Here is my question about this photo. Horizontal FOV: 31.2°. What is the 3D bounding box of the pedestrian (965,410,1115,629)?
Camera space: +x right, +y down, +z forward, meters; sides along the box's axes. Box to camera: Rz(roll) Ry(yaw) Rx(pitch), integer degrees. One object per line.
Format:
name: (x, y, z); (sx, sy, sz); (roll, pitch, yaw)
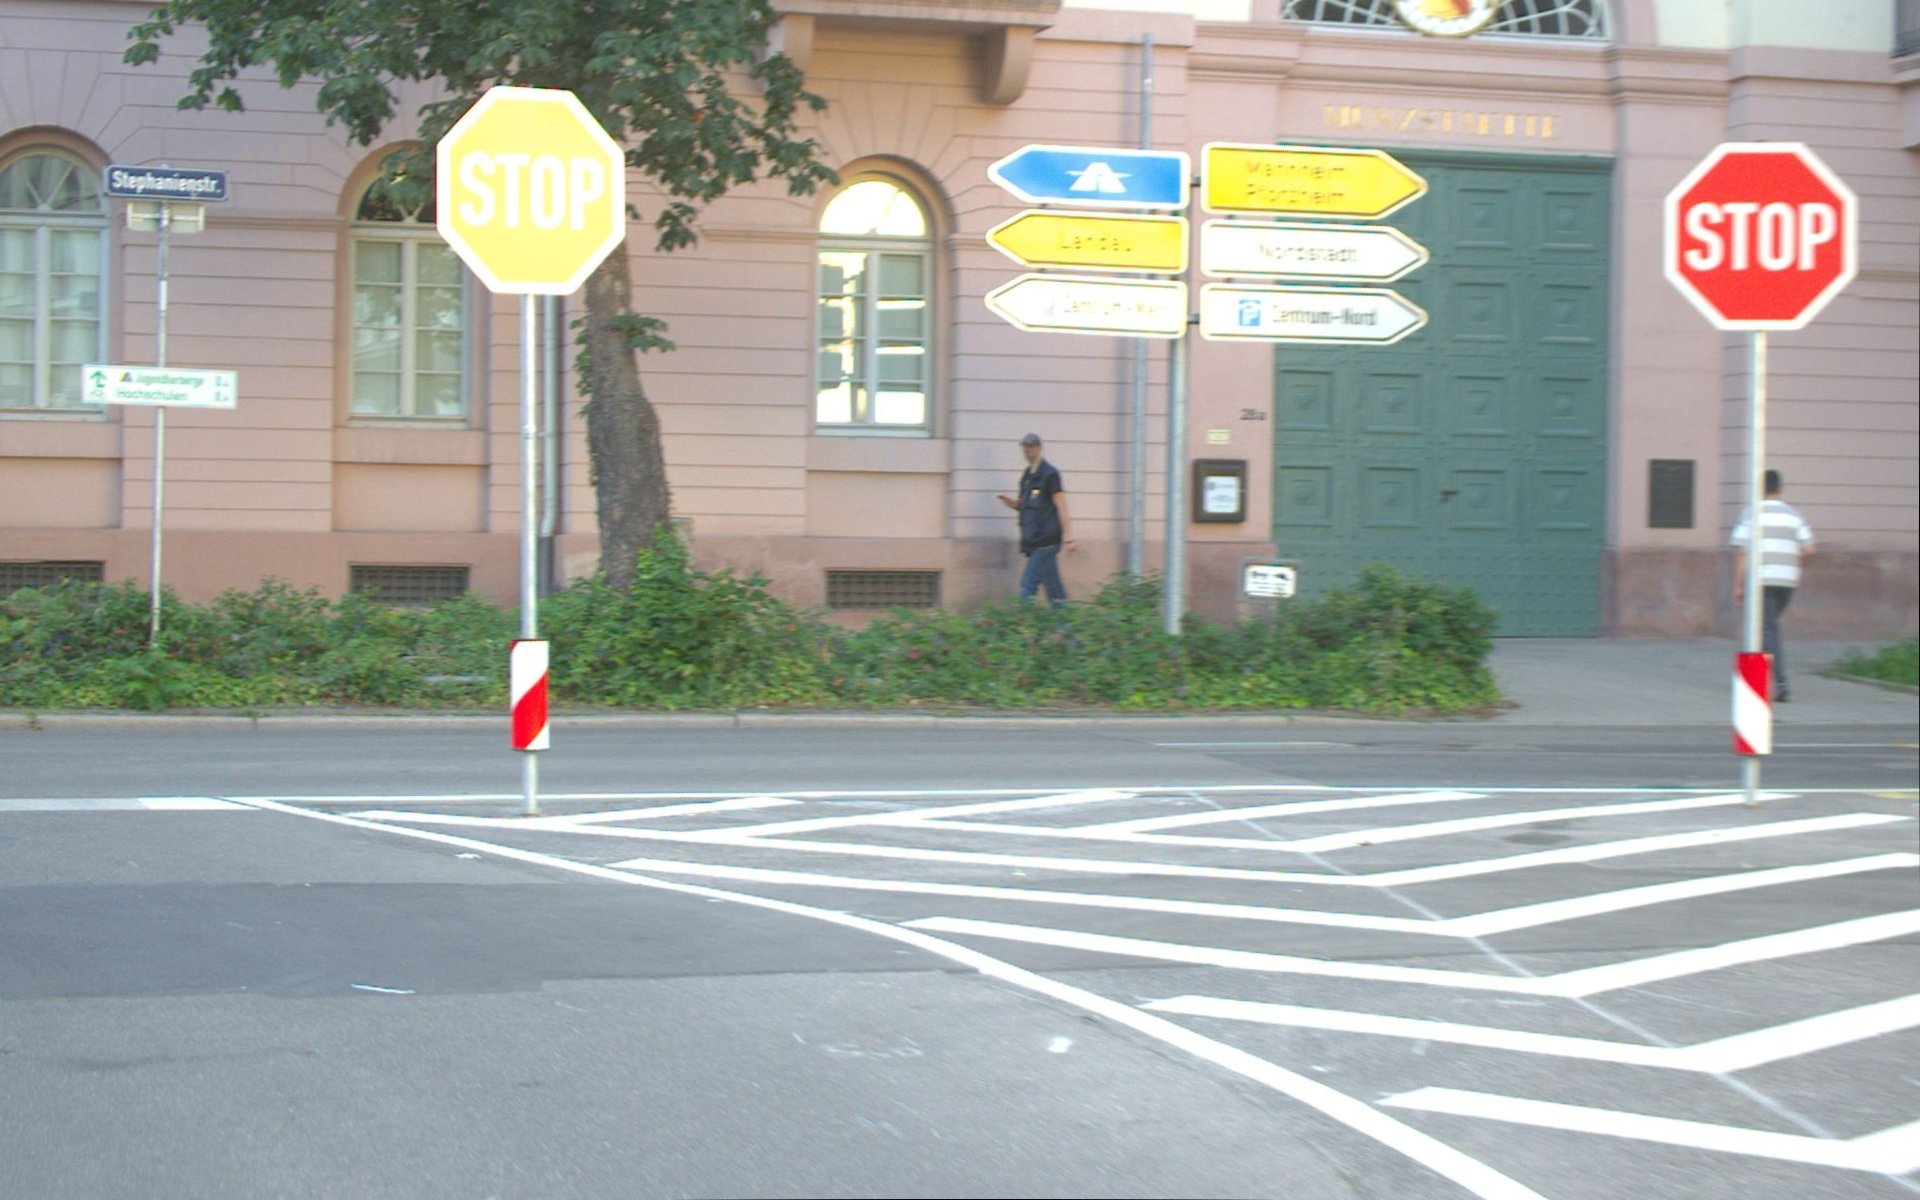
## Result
pedestrian: (0.677, -0.685, 29.368); (1.079, 1.832, 0.801); (0, 2, -15)

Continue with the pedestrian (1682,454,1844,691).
pedestrian: (6.309, -0.221, 27.033); (0.926, 1.825, 0.801); (0, 2, -19)
